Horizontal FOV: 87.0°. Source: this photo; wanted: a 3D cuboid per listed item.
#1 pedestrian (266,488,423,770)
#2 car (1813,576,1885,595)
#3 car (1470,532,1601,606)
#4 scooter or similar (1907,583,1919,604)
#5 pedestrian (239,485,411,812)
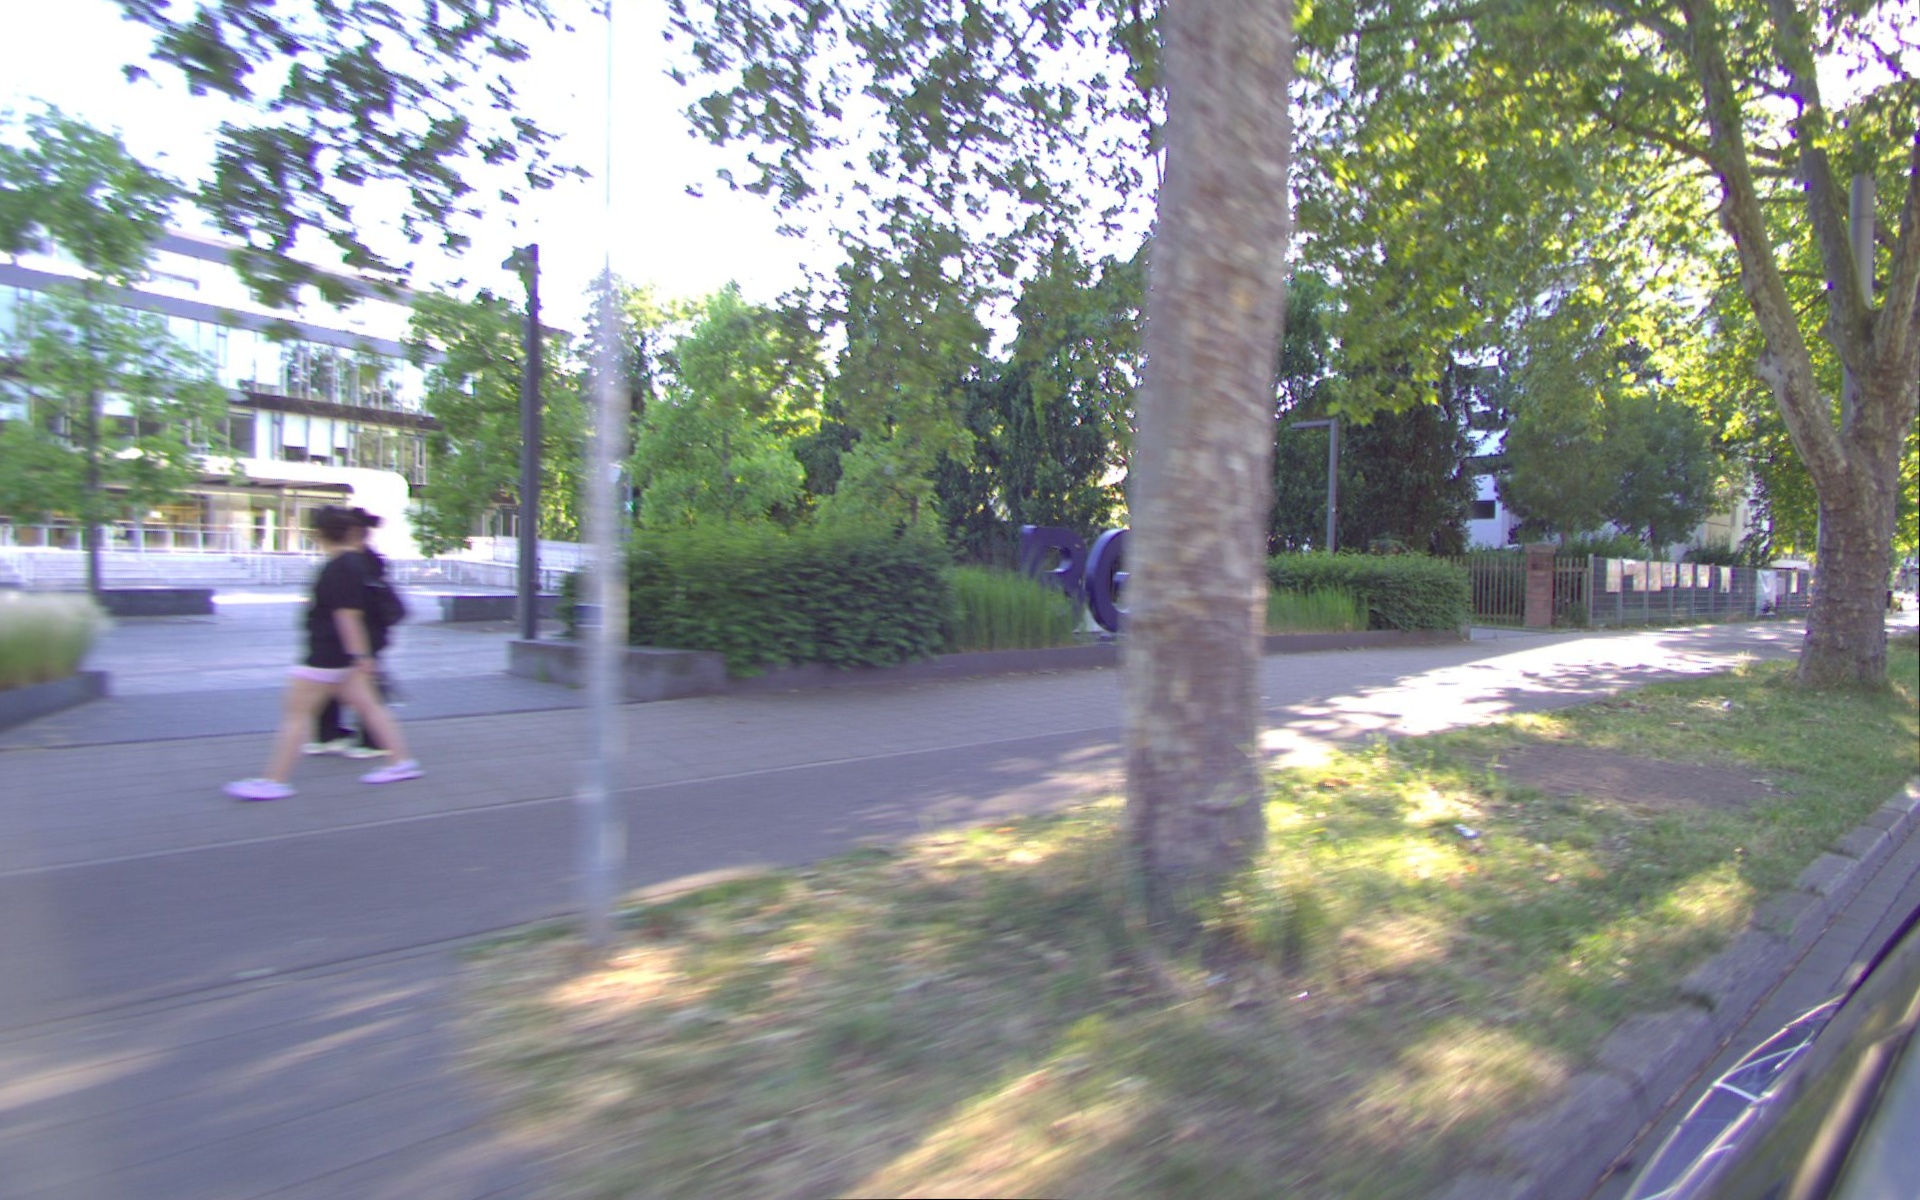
[{"bbox_3d":[-3.958,0.154,6.507,0.769,1.676,0.651,-1,3,-41],"label":"pedestrian"},{"bbox_3d":[80.512,-1.266,91.692,4.537,1.660,1.917,0,0,28],"label":"car"},{"bbox_3d":[21.208,-1.094,37.163,6.232,2.530,1.998,-1,0,-39],"label":"car"},{"bbox_3d":[60.383,-0.429,64.068,1.269,1.272,0.561,-2,4,-45],"label":"scooter or similar"},{"bbox_3d":[-3.544,0.230,5.649,0.727,1.676,0.629,-1,3,-41],"label":"pedestrian"}]
